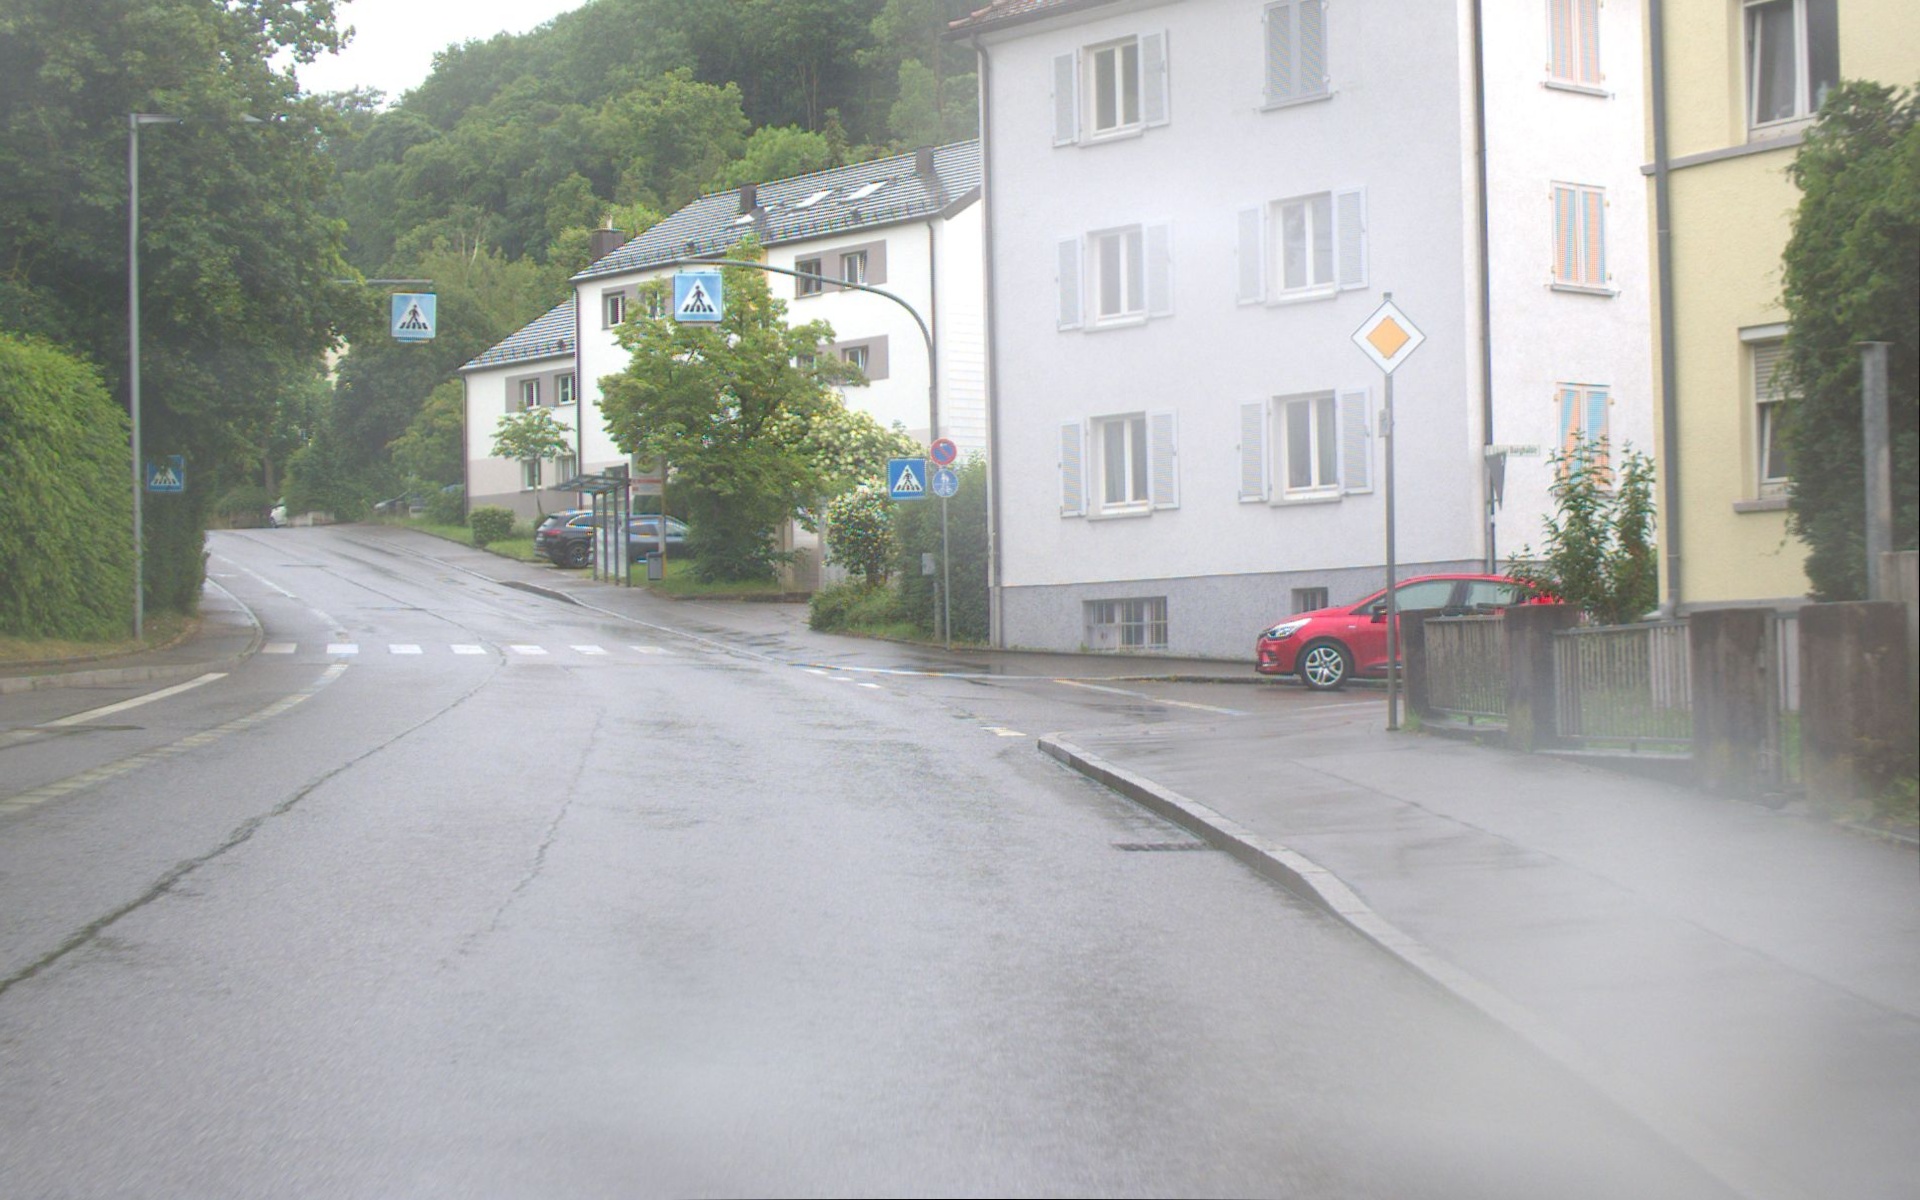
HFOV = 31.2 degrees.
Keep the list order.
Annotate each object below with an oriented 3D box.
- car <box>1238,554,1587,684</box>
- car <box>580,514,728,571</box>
[{"bbox_3d":[5.477,0.211,41.898,4.081,1.403,1.724,2,1,6],"label":"car"},{"bbox_3d":[-8.337,-1.579,93.648,3.742,1.453,1.725,-1,4,-17],"label":"car"}]
